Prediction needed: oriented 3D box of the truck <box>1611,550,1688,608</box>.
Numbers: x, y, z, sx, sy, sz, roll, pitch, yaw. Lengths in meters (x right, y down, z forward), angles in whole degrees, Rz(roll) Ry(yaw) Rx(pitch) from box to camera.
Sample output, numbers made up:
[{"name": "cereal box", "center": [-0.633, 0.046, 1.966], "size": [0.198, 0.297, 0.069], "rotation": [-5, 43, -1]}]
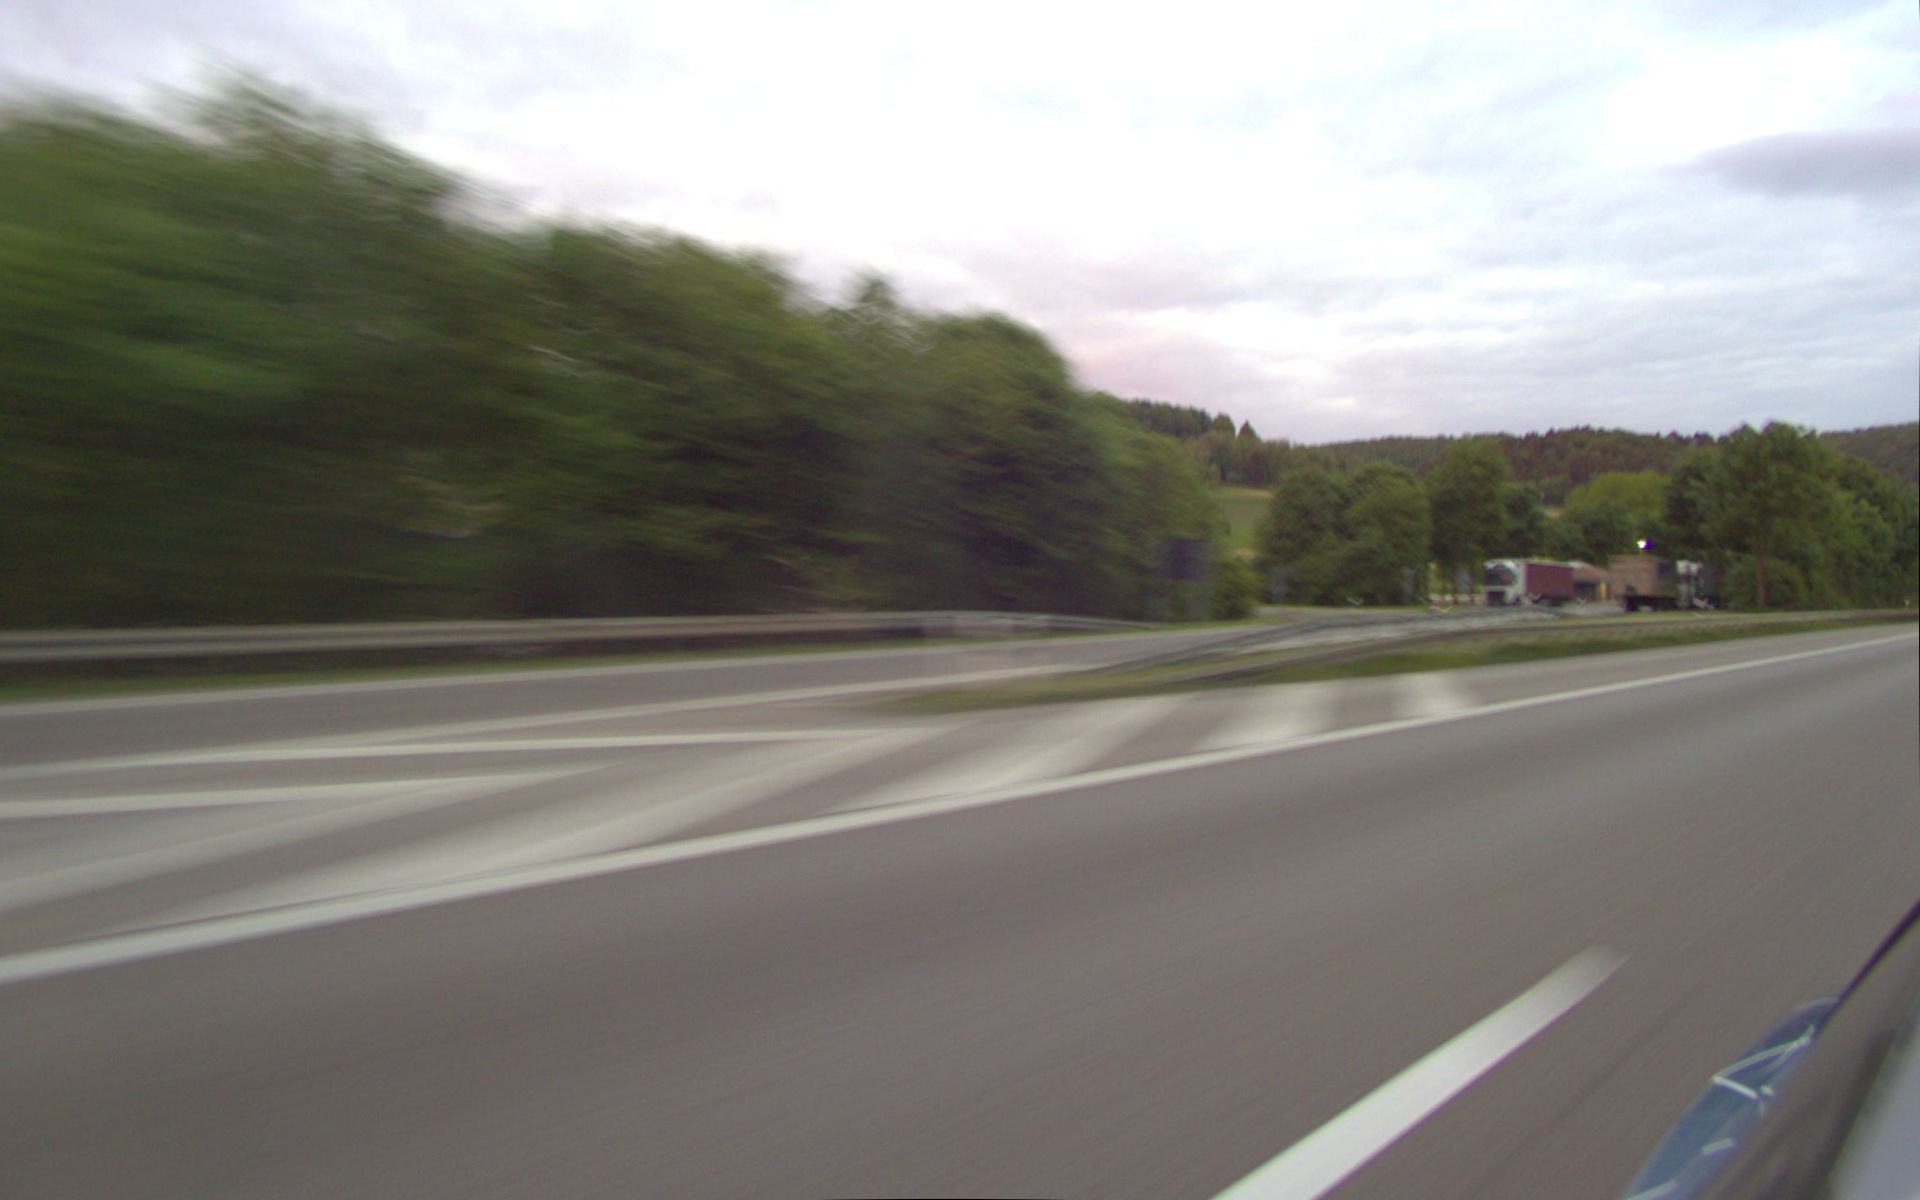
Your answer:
[{"name": "truck", "center": [50.292, -1.530, 73.601], "size": [2.838, 3.964, 11.804], "rotation": [2, 2, 43]}]

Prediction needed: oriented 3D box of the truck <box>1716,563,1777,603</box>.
[{"name": "truck", "center": [81.607, -1.763, 104.876], "size": [11.792, 3.964, 3.356], "rotation": [-1, 2, -44]}]

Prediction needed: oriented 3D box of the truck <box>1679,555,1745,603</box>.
[{"name": "truck", "center": [70.499, -1.970, 94.793], "size": [3.774, 4.281, 8.674], "rotation": [3, 2, 45]}]

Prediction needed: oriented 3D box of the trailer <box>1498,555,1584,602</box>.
[{"name": "trailer", "center": [51.961, -1.882, 90.275], "size": [13.348, 3.964, 2.842], "rotation": [-1, 2, -43]}]

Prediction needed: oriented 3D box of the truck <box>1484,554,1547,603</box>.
[{"name": "truck", "center": [47.070, -1.827, 85.701], "size": [6.277, 3.964, 2.842], "rotation": [0, 2, -43]}]

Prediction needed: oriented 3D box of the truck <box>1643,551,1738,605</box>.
[{"name": "truck", "center": [63.709, -1.882, 87.866], "size": [3.776, 4.281, 19.214], "rotation": [3, 2, 44]}]
